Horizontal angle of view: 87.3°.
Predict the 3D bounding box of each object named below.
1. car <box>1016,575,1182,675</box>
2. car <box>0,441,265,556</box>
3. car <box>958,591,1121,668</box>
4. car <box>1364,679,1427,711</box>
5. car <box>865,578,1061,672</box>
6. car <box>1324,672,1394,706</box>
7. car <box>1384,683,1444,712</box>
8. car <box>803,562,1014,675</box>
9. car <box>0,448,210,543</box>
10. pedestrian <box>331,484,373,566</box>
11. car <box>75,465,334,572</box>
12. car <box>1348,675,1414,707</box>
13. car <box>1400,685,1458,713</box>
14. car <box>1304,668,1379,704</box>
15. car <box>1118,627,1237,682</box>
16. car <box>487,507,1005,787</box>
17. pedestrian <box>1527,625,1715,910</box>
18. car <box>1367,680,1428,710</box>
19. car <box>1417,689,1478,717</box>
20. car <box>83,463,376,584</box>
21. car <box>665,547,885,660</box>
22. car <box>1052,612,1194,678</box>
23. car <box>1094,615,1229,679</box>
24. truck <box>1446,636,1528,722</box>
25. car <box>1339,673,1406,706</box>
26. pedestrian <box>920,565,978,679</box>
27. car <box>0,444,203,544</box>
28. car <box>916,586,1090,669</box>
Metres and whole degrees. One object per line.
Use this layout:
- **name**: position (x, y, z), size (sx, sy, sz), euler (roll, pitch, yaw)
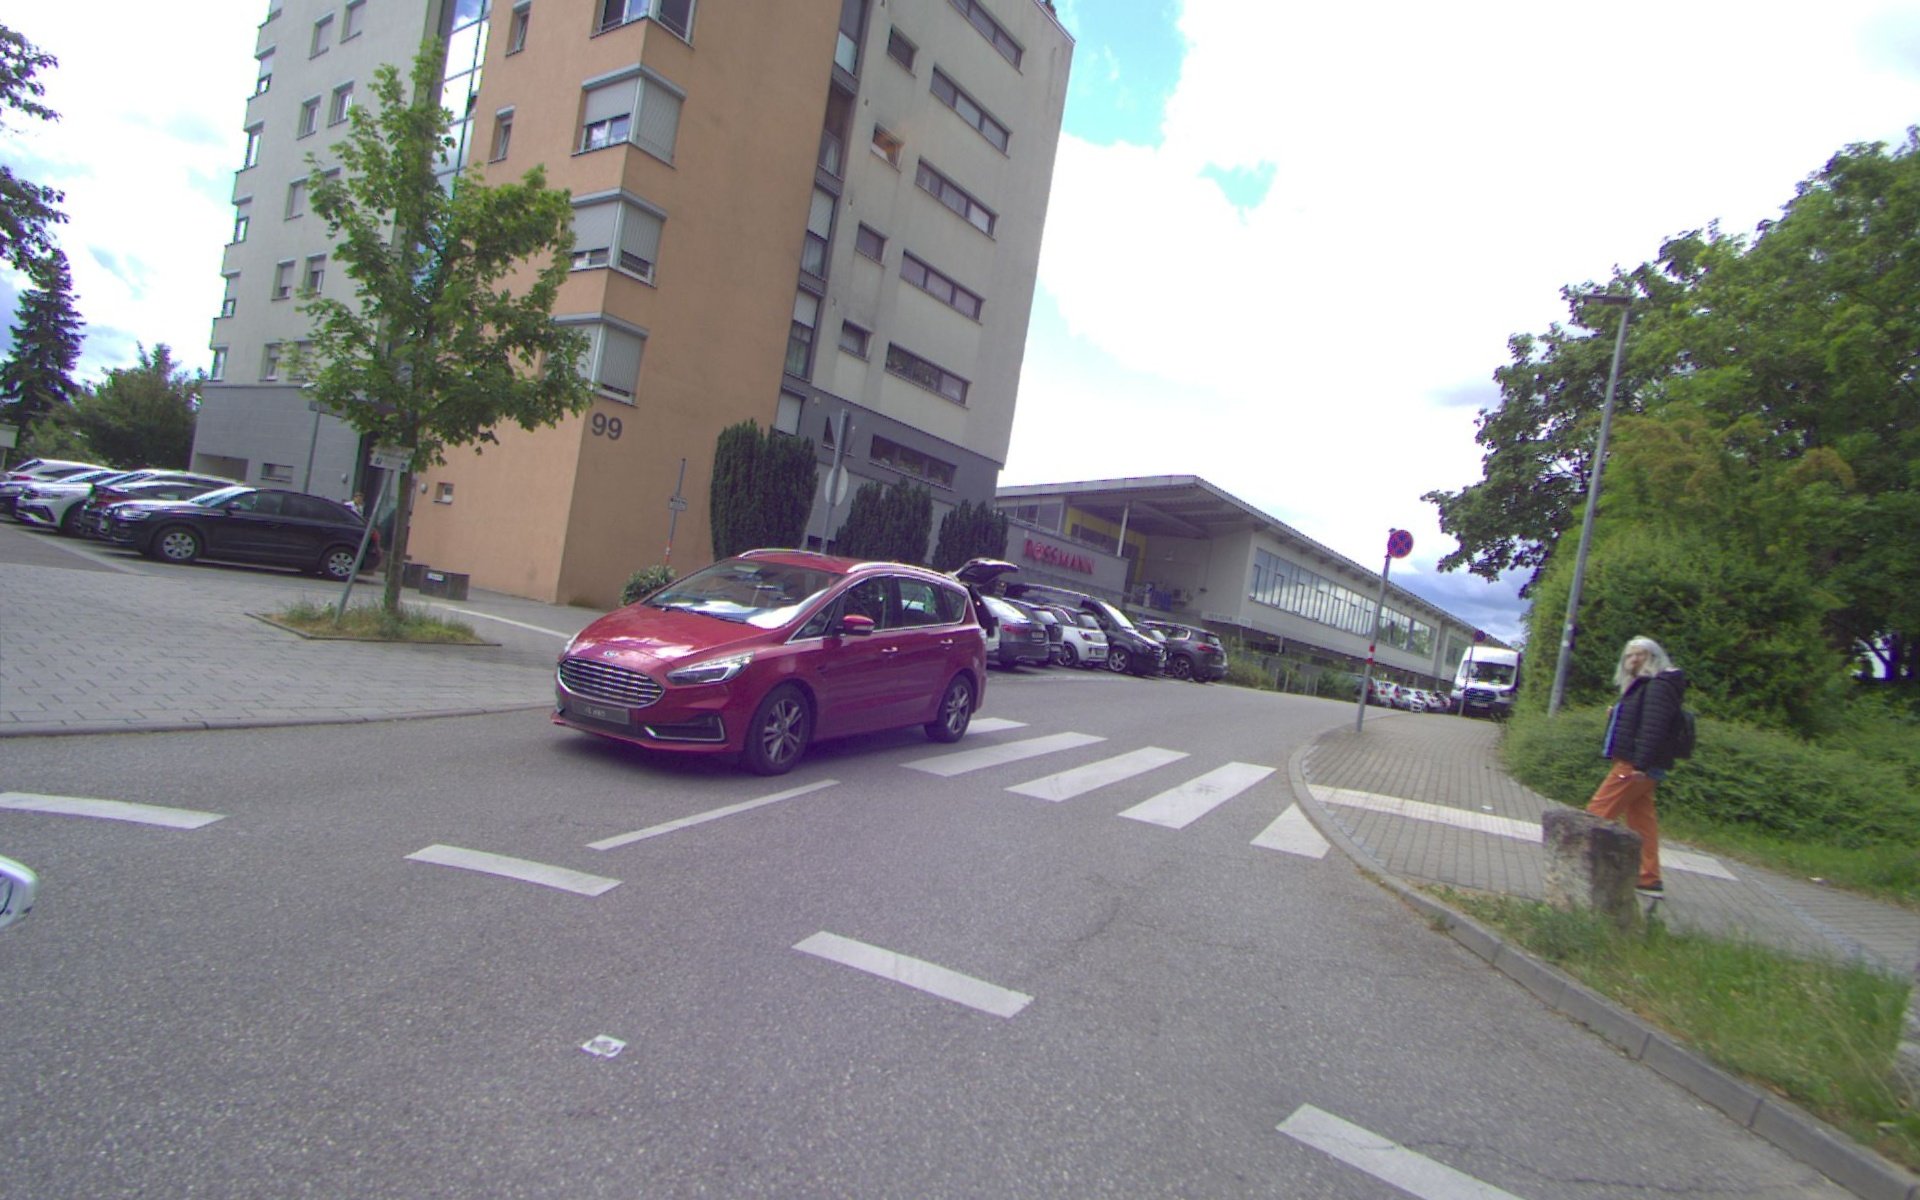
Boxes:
- **car**: position (3.791, 0.673, 27.668), size (3.915, 2.186, 1.825), euler (7, -1, 36)
- **car**: position (-17.435, -2.071, 21.212), size (1.665, 1.612, 4.126), euler (7, -2, 32)
- **car**: position (1.992, 0.751, 25.717), size (3.718, 1.501, 1.636), euler (7, 1, 36)
- **car**: position (26.899, 5.844, 62.139), size (3.247, 1.408, 1.505), euler (7, 1, 36)
- **car**: position (0.015, 0.505, 20.951), size (3.718, 1.501, 1.636), euler (7, 1, 36)
- **car**: position (22.394, 4.985, 56.517), size (3.247, 1.408, 1.505), euler (7, 1, 36)
- **car**: position (29.751, 6.355, 66.002), size (3.247, 1.408, 1.505), euler (7, 1, 36)
- **car**: position (-1.025, 0.320, 19.096), size (3.718, 1.680, 1.567), euler (7, 1, 36)
- **car**: position (-21.107, -2.517, 24.630), size (1.731, 1.535, 3.981), euler (7, -2, 39)
- **pedestrian**: position (-14.721, -1.816, 24.352), size (0.498, 1.875, 0.479), euler (7, 0, 26)
- **car**: position (-15.274, -1.605, 20.511), size (1.668, 1.475, 3.827), euler (7, -2, 39)
- **car**: position (25.289, 5.441, 60.445), size (3.247, 1.408, 1.505), euler (7, 1, 36)
- **car**: position (31.751, 6.695, 68.108), size (3.247, 1.408, 1.505), euler (7, 1, 36)
- **car**: position (19.836, 4.453, 52.333), size (3.247, 1.408, 1.505), euler (7, 1, 36)
- **car**: position (7.801, 1.943, 36.186), size (3.718, 1.501, 1.636), euler (7, 1, 36)
- **car**: position (-1.485, 0.348, 8.865), size (1.945, 1.666, 4.528), euler (7, 1, 27)
- **pedestrian**: position (4.419, 1.075, 6.725), size (0.828, 1.685, 0.612), euler (7, 0, 39)
- **car**: position (28.100, 6.082, 64.582), size (3.247, 1.408, 1.505), euler (7, 1, 36)
- **car**: position (35.923, 7.581, 74.168), size (3.718, 1.501, 1.636), euler (7, 1, 36)
- **car**: position (-13.539, -1.370, 18.855), size (1.730, 1.535, 4.041), euler (7, -2, 39)
- **car**: position (-3.156, 0.004, 16.961), size (3.467, 1.497, 1.499), euler (7, 4, 31)
- **car**: position (4.855, 1.336, 30.148), size (3.718, 1.501, 1.636), euler (7, 1, 36)
- **car**: position (6.295, 1.453, 31.567), size (3.718, 1.501, 1.636), euler (7, 1, 36)
- **truck**: position (19.184, 2.936, 36.468), size (2.033, 2.637, 5.801), euler (7, -2, 31)
- **car**: position (23.853, 5.147, 58.191), size (3.247, 1.408, 1.505), euler (7, 1, 36)
- **pedestrian**: position (-0.182, 0.371, 16.824), size (0.477, 1.834, 0.581), euler (7, 0, 38)
- **car**: position (-19.690, -2.374, 22.470), size (1.730, 1.535, 4.041), euler (7, -2, 39)
- **car**: position (0.980, 0.625, 23.772), size (3.718, 1.501, 1.636), euler (7, 1, 36)
